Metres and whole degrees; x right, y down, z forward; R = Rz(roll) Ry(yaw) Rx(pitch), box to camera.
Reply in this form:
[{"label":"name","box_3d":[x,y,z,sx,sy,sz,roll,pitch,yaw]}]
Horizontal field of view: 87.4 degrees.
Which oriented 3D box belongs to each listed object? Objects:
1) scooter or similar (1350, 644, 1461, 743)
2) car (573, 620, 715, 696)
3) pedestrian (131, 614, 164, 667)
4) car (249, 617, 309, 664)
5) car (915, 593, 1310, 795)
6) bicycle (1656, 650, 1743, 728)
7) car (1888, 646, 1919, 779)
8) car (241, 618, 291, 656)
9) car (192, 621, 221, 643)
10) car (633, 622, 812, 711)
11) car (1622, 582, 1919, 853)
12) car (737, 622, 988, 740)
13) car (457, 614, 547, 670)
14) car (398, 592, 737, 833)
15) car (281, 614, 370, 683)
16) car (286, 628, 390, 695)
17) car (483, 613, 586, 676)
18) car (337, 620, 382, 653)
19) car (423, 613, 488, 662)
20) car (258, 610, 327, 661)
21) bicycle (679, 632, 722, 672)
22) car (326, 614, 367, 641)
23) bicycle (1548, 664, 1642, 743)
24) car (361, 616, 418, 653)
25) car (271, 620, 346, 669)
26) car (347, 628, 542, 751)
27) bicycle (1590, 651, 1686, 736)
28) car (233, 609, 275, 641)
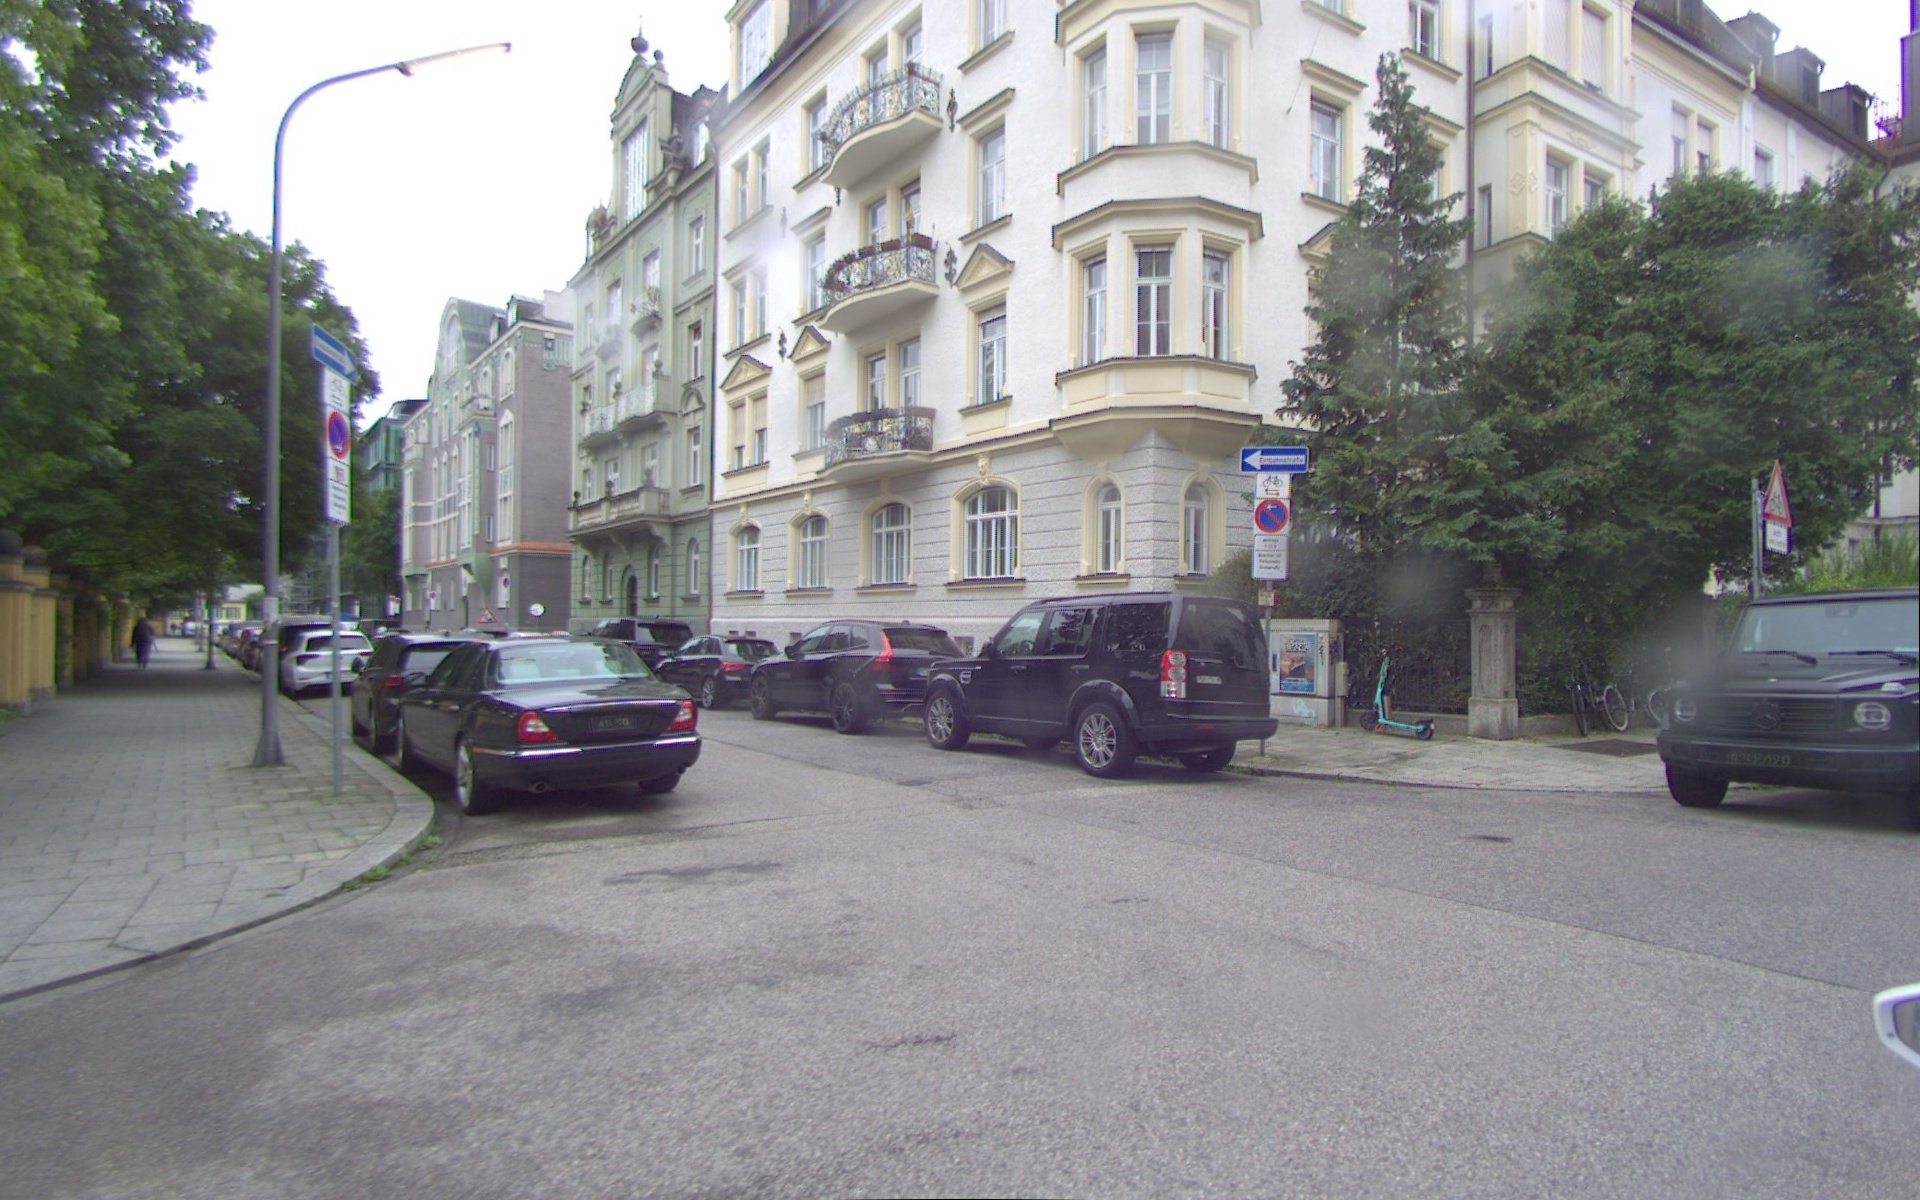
[{"label":"scooter or similar","box_3d":[5.979,1.227,13.559,0.453,1.195,1.423,-1,1,-25]},{"label":"car","box_3d":[-7.648,1.342,24.050,1.917,1.616,4.197,5,-4,-36]},{"label":"pedestrian","box_3d":[-26.498,1.317,32.774,0.777,1.712,0.710,2,-2,-39]},{"label":"car","box_3d":[-26.526,1.552,39.100,1.815,1.706,4.199,2,-2,-35]},{"label":"car","box_3d":[1.563,0.941,11.791,2.036,1.882,4.474,1,-2,-37]},{"label":"bicycle","box_3d":[11.410,1.346,15.483,1.746,1.111,0.486,1,0,-32]},{"label":"car","box_3d":[12.450,1.238,11.508,3.875,1.449,1.635,2,-5,-32]},{"label":"car","box_3d":[-32.881,1.737,47.570,1.815,1.706,4.199,2,-2,-35]},{"label":"car","box_3d":[-61.600,2.625,82.086,1.741,1.706,3.956,2,-2,-38]},{"label":"car","box_3d":[-4.951,1.301,20.478,1.917,1.586,4.388,5,-4,-36]},{"label":"car","box_3d":[8.299,0.895,9.161,4.761,1.911,1.903,1,-2,-31]},{"label":"car","box_3d":[-1.700,1.192,15.951,1.916,1.586,4.474,4,-3,-36]},{"label":"car","box_3d":[-16.734,1.522,36.583,2.036,1.882,4.474,3,-3,-36]},{"label":"car","box_3d":[-4.063,0.890,9.849,1.888,1.766,4.689,1,-2,-37]},{"label":"car","box_3d":[-17.223,1.238,27.187,1.814,1.706,4.199,1,-1,-35]},{"label":"car","box_3d":[-14.560,1.357,23.416,1.814,1.403,4.199,1,-2,-35]},{"label":"car","box_3d":[-13.866,1.432,32.584,2.036,1.882,4.474,3,-3,-36]},{"label":"car","box_3d":[-39.227,2.362,65.562,1.983,2.040,3.955,2,-2,-39]},{"label":"car","box_3d":[-21.875,1.595,43.467,1.865,2.040,3.959,2,-2,-36]},{"label":"car","box_3d":[-23.847,1.240,35.845,1.808,1.690,3.958,2,-2,-37]},{"label":"bicycle","box_3d":[-7.904,1.556,30.565,0.533,1.161,1.935,1,-1,-39]},{"label":"car","box_3d":[-44.383,1.979,72.619,1.983,1.940,3.955,2,-2,-39]},{"label":"bicycle","box_3d":[8.765,1.405,13.851,1.619,0.964,0.448,0,0,-33]},{"label":"car","box_3d":[-29.976,1.782,52.705,2.036,1.882,4.473,1,-1,-37]},{"label":"car","box_3d":[-20.805,1.386,32.023,1.774,1.461,3.959,2,-2,-36]},{"label":"car","box_3d":[-7.266,1.106,13.941,1.835,1.403,4.199,1,-2,-35]},{"label":"bicycle","box_3d":[9.814,1.322,14.513,1.768,1.111,0.486,1,0,-32]},{"label":"car","box_3d":[-39.141,1.390,55.687,1.815,1.706,4.199,2,-2,-35]}]
